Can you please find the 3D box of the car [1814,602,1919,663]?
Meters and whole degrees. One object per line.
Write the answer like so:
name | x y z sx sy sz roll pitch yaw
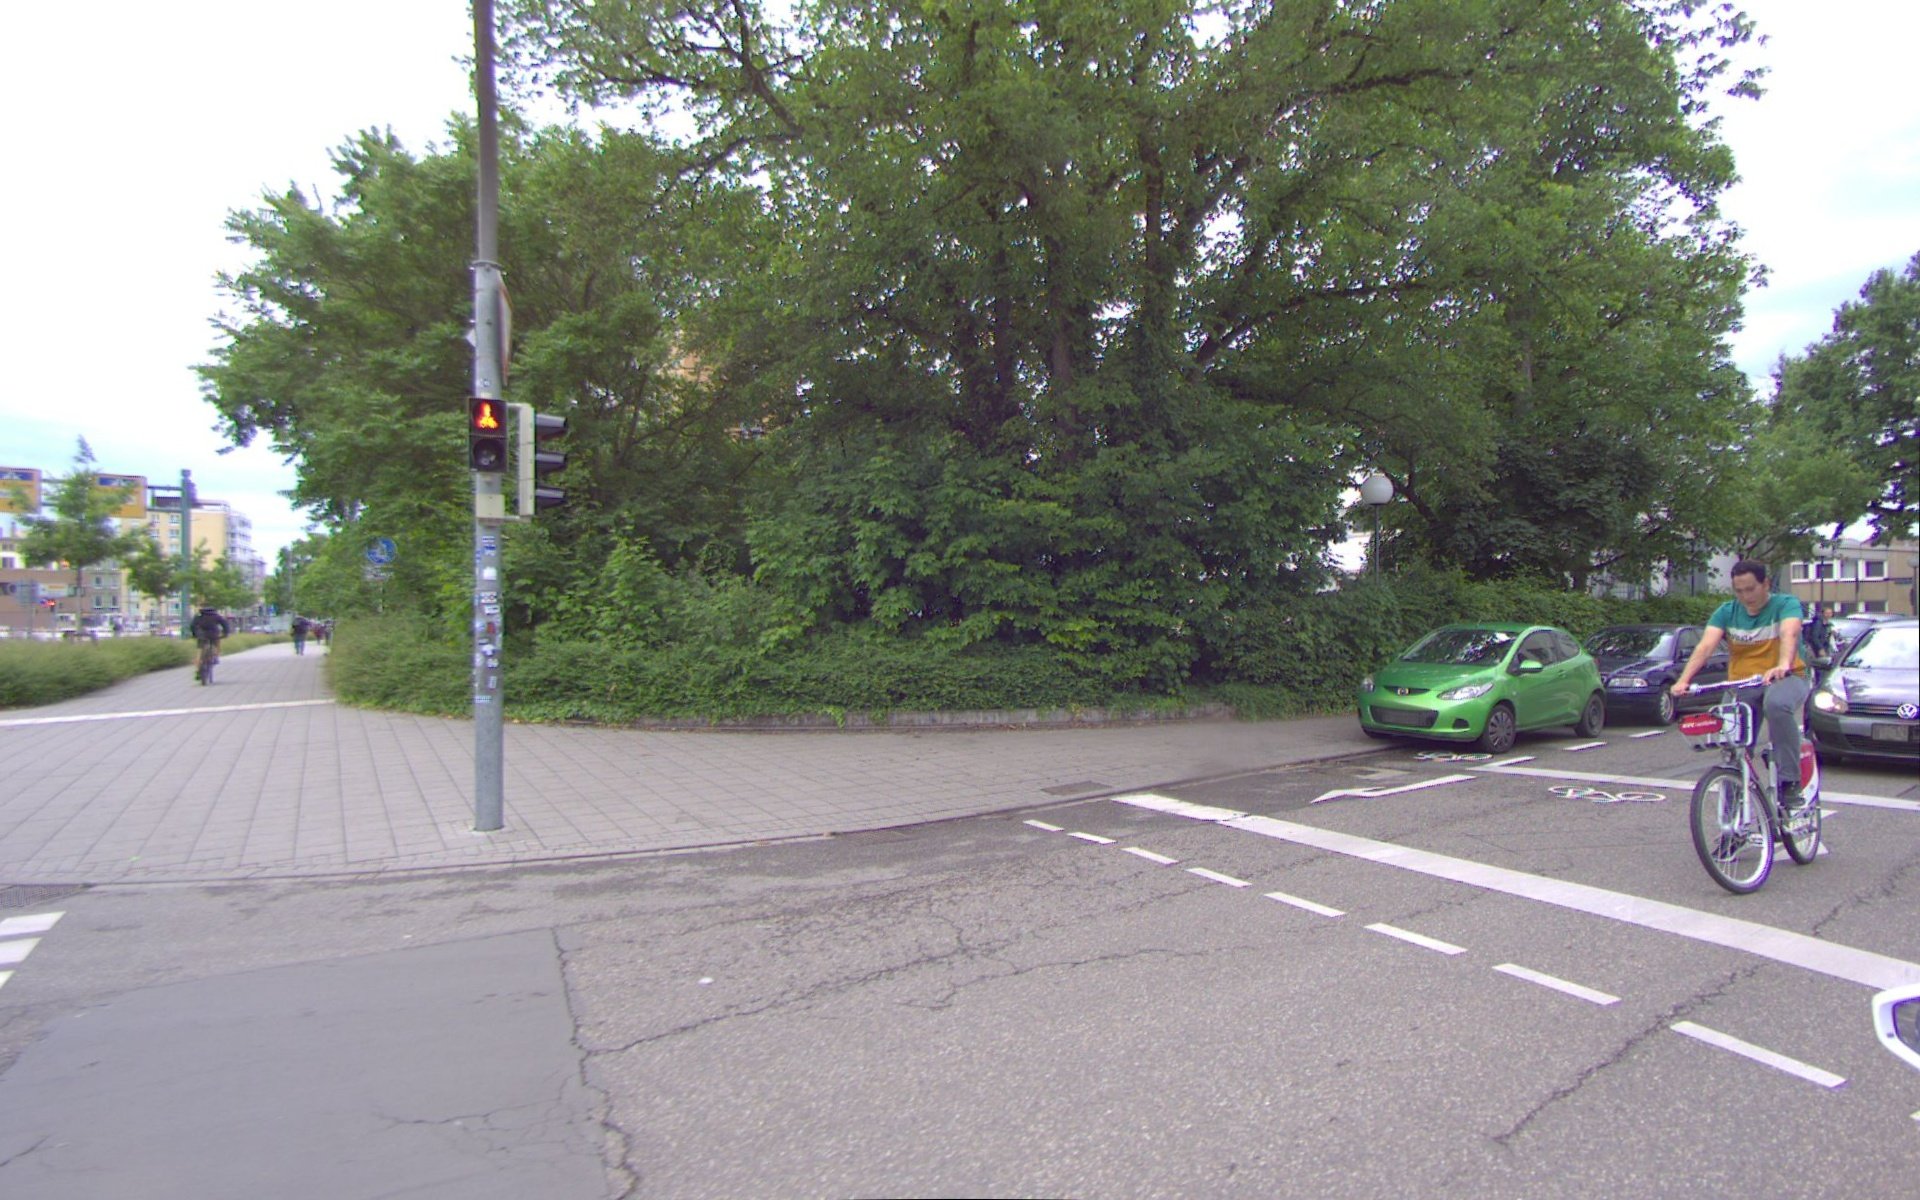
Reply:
car | 25.993 0.868 28.718 3.843 1.607 1.703 -1 0 -38

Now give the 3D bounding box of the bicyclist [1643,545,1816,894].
bicyclist | 4.438 0.629 5.786 0.977 1.803 0.651 1 -1 -45

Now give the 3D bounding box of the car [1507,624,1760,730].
car | 10.552 1.089 15.657 4.291 1.427 1.787 1 -1 -34

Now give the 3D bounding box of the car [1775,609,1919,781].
car | 10.056 0.865 10.277 4.130 1.517 1.770 1 -1 -38

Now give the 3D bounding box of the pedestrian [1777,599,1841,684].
pedestrian | 17.481 0.839 20.679 0.958 1.684 0.734 -1 -1 -33

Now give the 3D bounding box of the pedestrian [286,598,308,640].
pedestrian | -27.027 0.777 40.972 0.634 1.687 0.804 0 0 -25

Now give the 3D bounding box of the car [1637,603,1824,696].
car | 14.966 0.880 19.435 4.489 1.581 1.784 0 -1 -38

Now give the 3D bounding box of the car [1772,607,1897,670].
car | 22.209 0.918 25.469 3.974 1.430 1.749 0 0 -39

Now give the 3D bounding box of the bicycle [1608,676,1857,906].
bicycle | 4.515 1.016 5.827 1.839 1.051 0.653 1 -1 -36

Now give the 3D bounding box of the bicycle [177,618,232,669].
bicycle | -16.525 0.918 21.945 0.777 1.051 1.841 0 0 -43

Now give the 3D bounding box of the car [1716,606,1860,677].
car | 18.891 0.899 22.884 3.790 1.491 1.749 1 -1 -38

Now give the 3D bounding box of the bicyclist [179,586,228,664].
bicyclist | -16.431 0.532 21.822 0.762 1.630 0.911 0 0 -43

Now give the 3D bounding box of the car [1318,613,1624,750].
car | 6.621 0.921 12.861 4.207 1.489 1.786 1 -1 -36
